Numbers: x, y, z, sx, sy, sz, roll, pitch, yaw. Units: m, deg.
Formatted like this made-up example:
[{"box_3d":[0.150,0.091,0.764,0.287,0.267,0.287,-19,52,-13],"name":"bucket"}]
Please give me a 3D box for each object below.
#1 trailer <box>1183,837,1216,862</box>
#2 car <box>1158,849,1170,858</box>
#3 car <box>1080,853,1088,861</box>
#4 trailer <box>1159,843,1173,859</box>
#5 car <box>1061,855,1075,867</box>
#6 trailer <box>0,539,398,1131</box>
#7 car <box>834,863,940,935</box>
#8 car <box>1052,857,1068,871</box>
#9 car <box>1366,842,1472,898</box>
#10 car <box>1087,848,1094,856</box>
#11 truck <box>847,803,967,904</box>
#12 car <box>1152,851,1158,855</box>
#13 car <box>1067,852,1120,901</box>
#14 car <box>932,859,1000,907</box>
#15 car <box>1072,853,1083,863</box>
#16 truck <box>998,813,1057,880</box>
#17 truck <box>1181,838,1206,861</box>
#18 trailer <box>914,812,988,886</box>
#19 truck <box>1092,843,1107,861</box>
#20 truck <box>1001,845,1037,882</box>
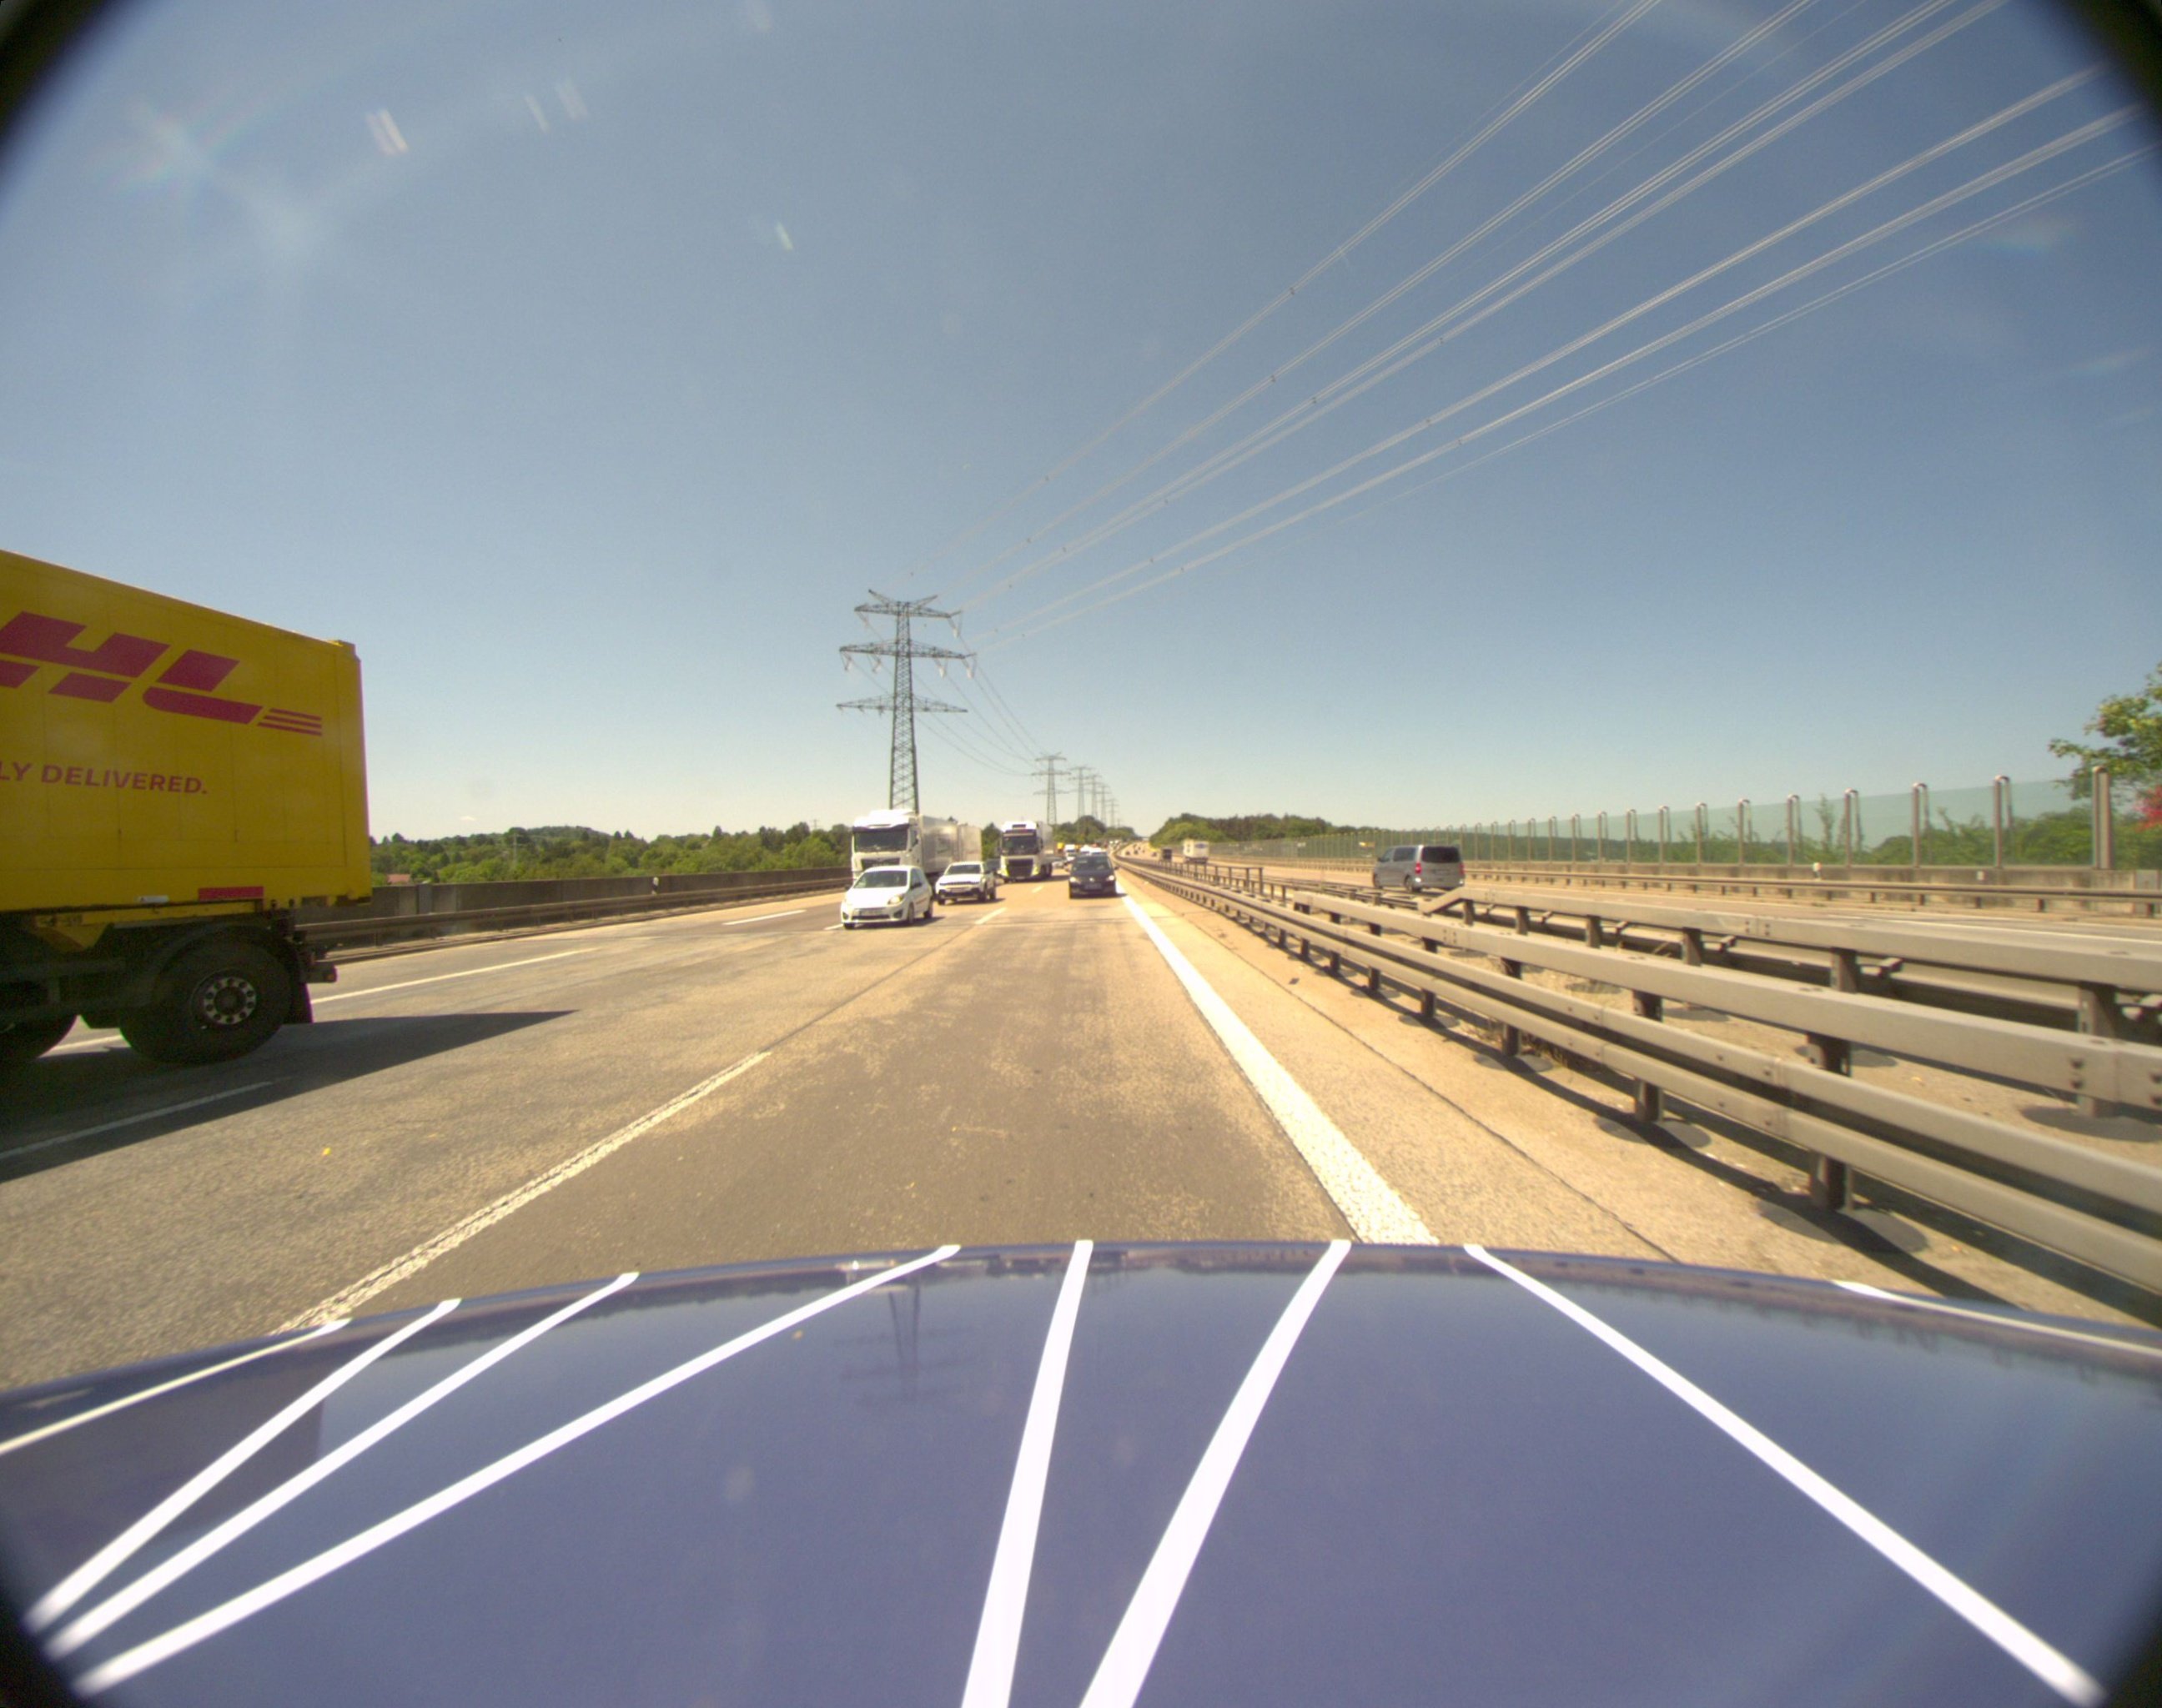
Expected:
[{"box_3d":[20.637,-0.781,133.133,3.999,4.210,14.040,0,0,1],"name":"trailer"},{"box_3d":[15.718,-0.153,144.829,1.875,1.616,4.628,-2,1,1],"name":"car"},{"box_3d":[0.704,0.709,177.780,1.821,1.569,3.999,-2,1,1],"name":"car"},{"box_3d":[15.621,-0.557,139.958,2.171,2.761,5.376,2,1,1],"name":"trailer"},{"box_3d":[-1.938,1.016,113.567,1.821,1.569,3.999,-2,1,1],"name":"car"},{"box_3d":[-8.885,-0.083,3.428,2.772,4.093,9.377,-3,0,1],"name":"trailer"},{"box_3d":[-4.854,1.067,19.523,1.659,1.502,3.825,-3,1,0],"name":"car"},{"box_3d":[-2.679,1.265,97.521,1.821,1.569,3.999,-2,1,1],"name":"car"},{"box_3d":[13.113,0.529,29.860,1.998,1.929,4.896,-3,1,1],"name":"car"},{"box_3d":[2.684,-0.492,211.679,1.998,2.002,3.999,-3,1,1],"name":"car"},{"box_3d":[-7.772,-0.047,35.938,2.695,3.907,11.297,-3,0,1],"name":"truck"},{"box_3d":[23.788,-0.342,245.529,1.656,1.454,3.542,0,1,1],"name":"car"},{"box_3d":[0.492,0.791,28.339,1.748,1.569,4.000,-3,1,2],"name":"car"},{"box_3d":[-4.239,1.045,28.638,1.776,1.521,3.851,-3,1,2],"name":"car"},{"box_3d":[-0.685,0.664,135.533,1.821,1.569,3.999,-2,1,1],"name":"car"},{"box_3d":[-3.539,-0.484,54.473,2.717,4.015,14.256,-3,0,1],"name":"truck"},{"box_3d":[20.815,-0.790,140.842,4.016,4.204,4.858,0,0,1],"name":"truck"},{"box_3d":[-7.579,-0.275,45.445,2.752,3.918,7.773,-3,0,1],"name":"trailer"},{"box_3d":[3.170,-0.320,127.646,2.309,2.789,5.109,-3,1,2],"name":"truck"},{"box_3d":[-7.027,0.908,87.698,2.840,3.858,11.272,-3,1,1],"name":"truck"}]
